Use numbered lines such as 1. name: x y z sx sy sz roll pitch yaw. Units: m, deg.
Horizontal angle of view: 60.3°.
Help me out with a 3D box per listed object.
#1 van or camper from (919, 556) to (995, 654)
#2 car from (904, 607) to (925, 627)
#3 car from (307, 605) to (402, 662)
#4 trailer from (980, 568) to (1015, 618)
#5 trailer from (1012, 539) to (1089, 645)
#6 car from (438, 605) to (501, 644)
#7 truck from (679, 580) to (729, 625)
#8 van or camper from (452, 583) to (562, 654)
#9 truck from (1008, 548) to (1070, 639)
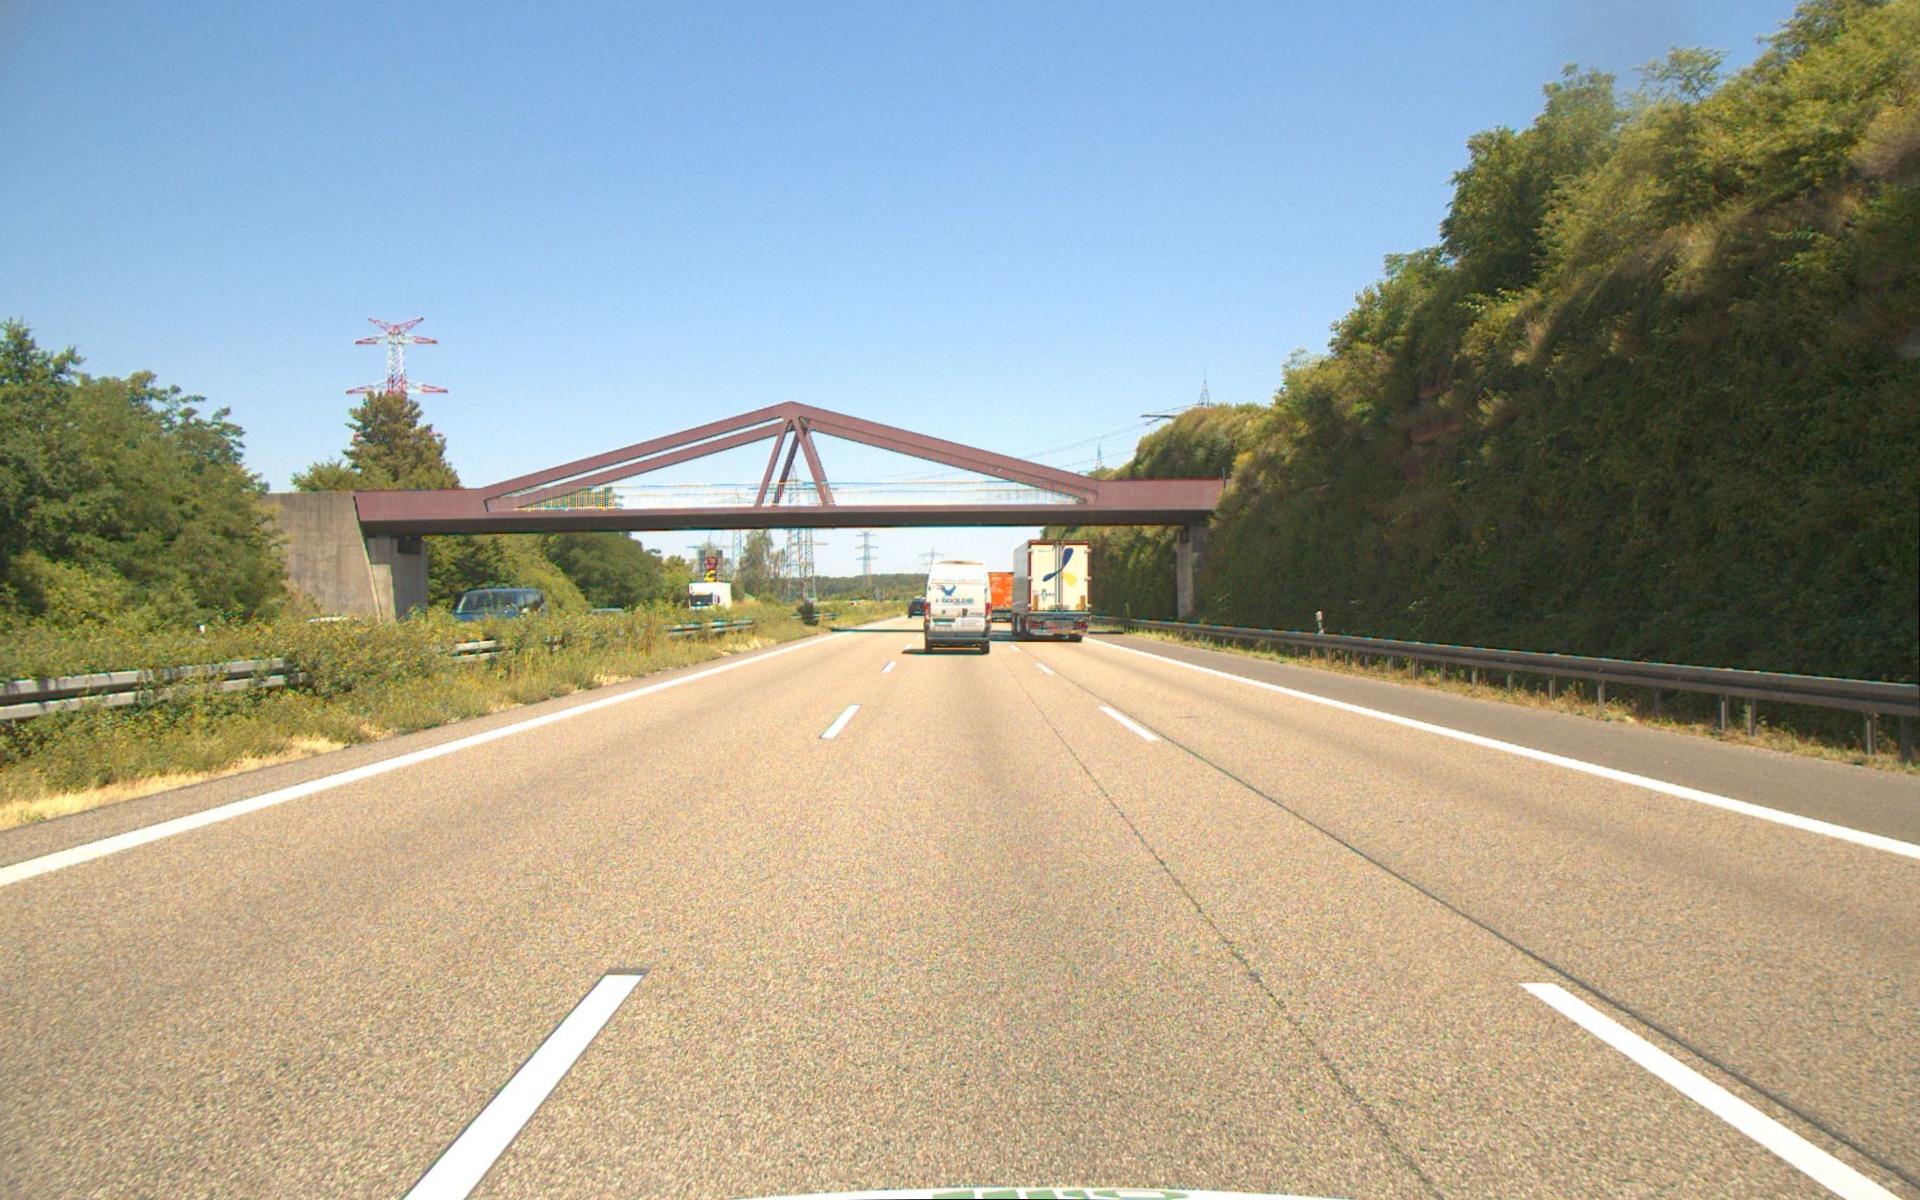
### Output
1. van or camper: -0.122 0.148 51.425 2.185 2.831 5.422 1 0 -1
2. car: -4.539 1.693 166.252 1.941 1.849 3.813 1 0 1
3. car: -21.166 1.129 57.976 1.767 1.869 4.256 1 0 -1
4. trailer: 3.038 -0.553 136.086 2.583 3.965 7.068 1 0 0
5. trailer: 3.778 -0.315 71.779 2.583 4.131 12.365 1 0 0
6. car: -24.139 1.184 81.506 1.665 1.799 4.403 1 0 1
7. truck: -21.723 0.171 141.106 2.751 3.599 10.186 -2 0 -1
8. van or camper: -12.690 0.500 46.657 1.807 1.844 4.873 1 0 -1
9. truck: 3.772 -0.308 79.923 2.583 4.131 5.799 1 0 0
